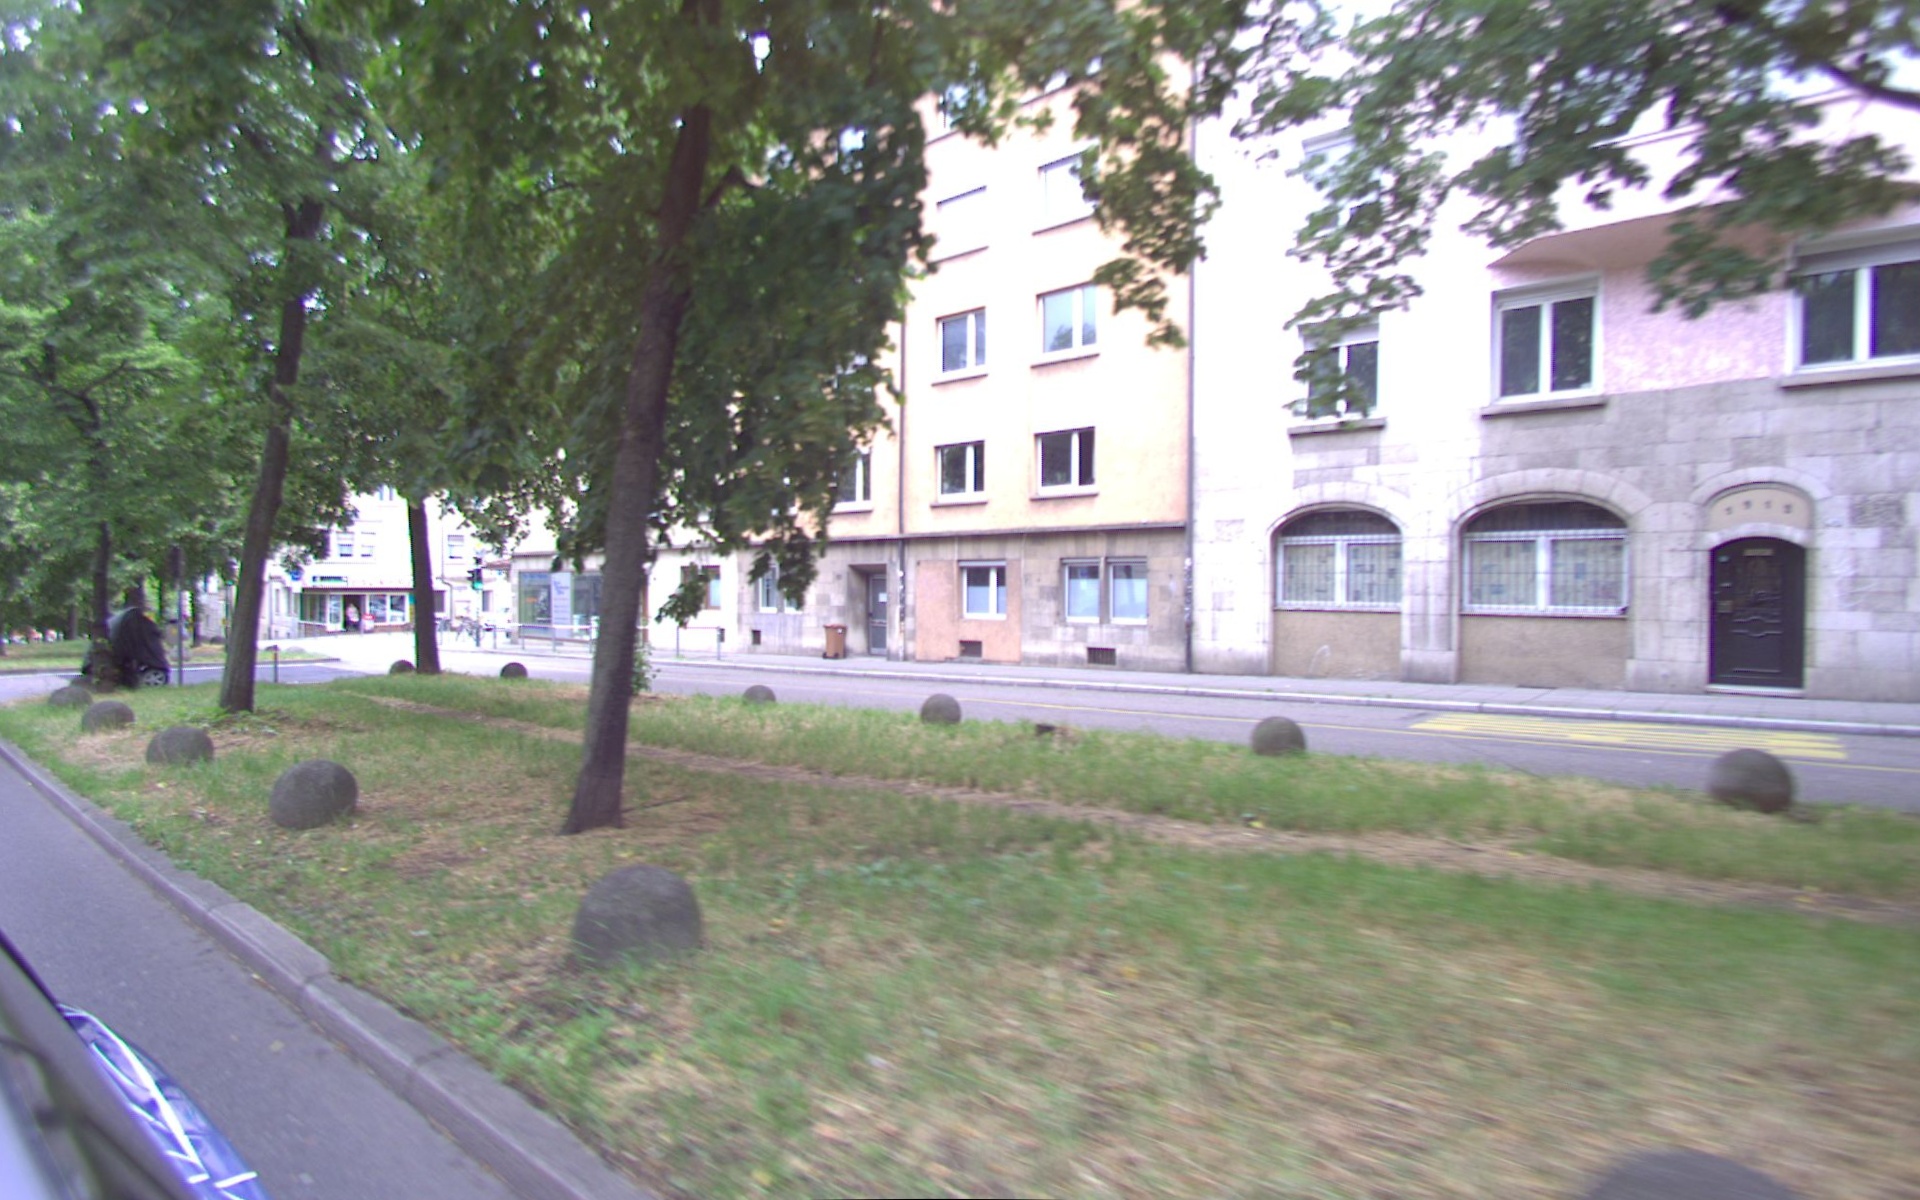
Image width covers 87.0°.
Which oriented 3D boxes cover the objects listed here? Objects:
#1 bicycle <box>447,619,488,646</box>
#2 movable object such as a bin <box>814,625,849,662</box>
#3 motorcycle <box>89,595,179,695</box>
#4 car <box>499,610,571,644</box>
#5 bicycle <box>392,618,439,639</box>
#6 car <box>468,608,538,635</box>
[{"bbox_3d":[-22.914,1.498,47.097,2.050,1.158,0.677,-3,0,31],"label":"bicycle"},{"bbox_3d":[-3.365,1.121,26.467,0.779,0.934,0.507,-2,0,43],"label":"movable object such as a bin"},{"bbox_3d":[-13.878,0.799,16.966,2.623,1.542,0.814,-5,-5,43],"label":"motorcycle"},{"bbox_3d":[-21.796,1.373,52.020,1.671,1.553,3.628,-3,0,11],"label":"car"},{"bbox_3d":[-30.464,1.590,56.635,2.310,1.108,0.777,-2,0,-29],"label":"bicycle"},{"bbox_3d":[-27.451,1.278,60.915,1.965,1.553,3.790,-1,0,14],"label":"car"}]
